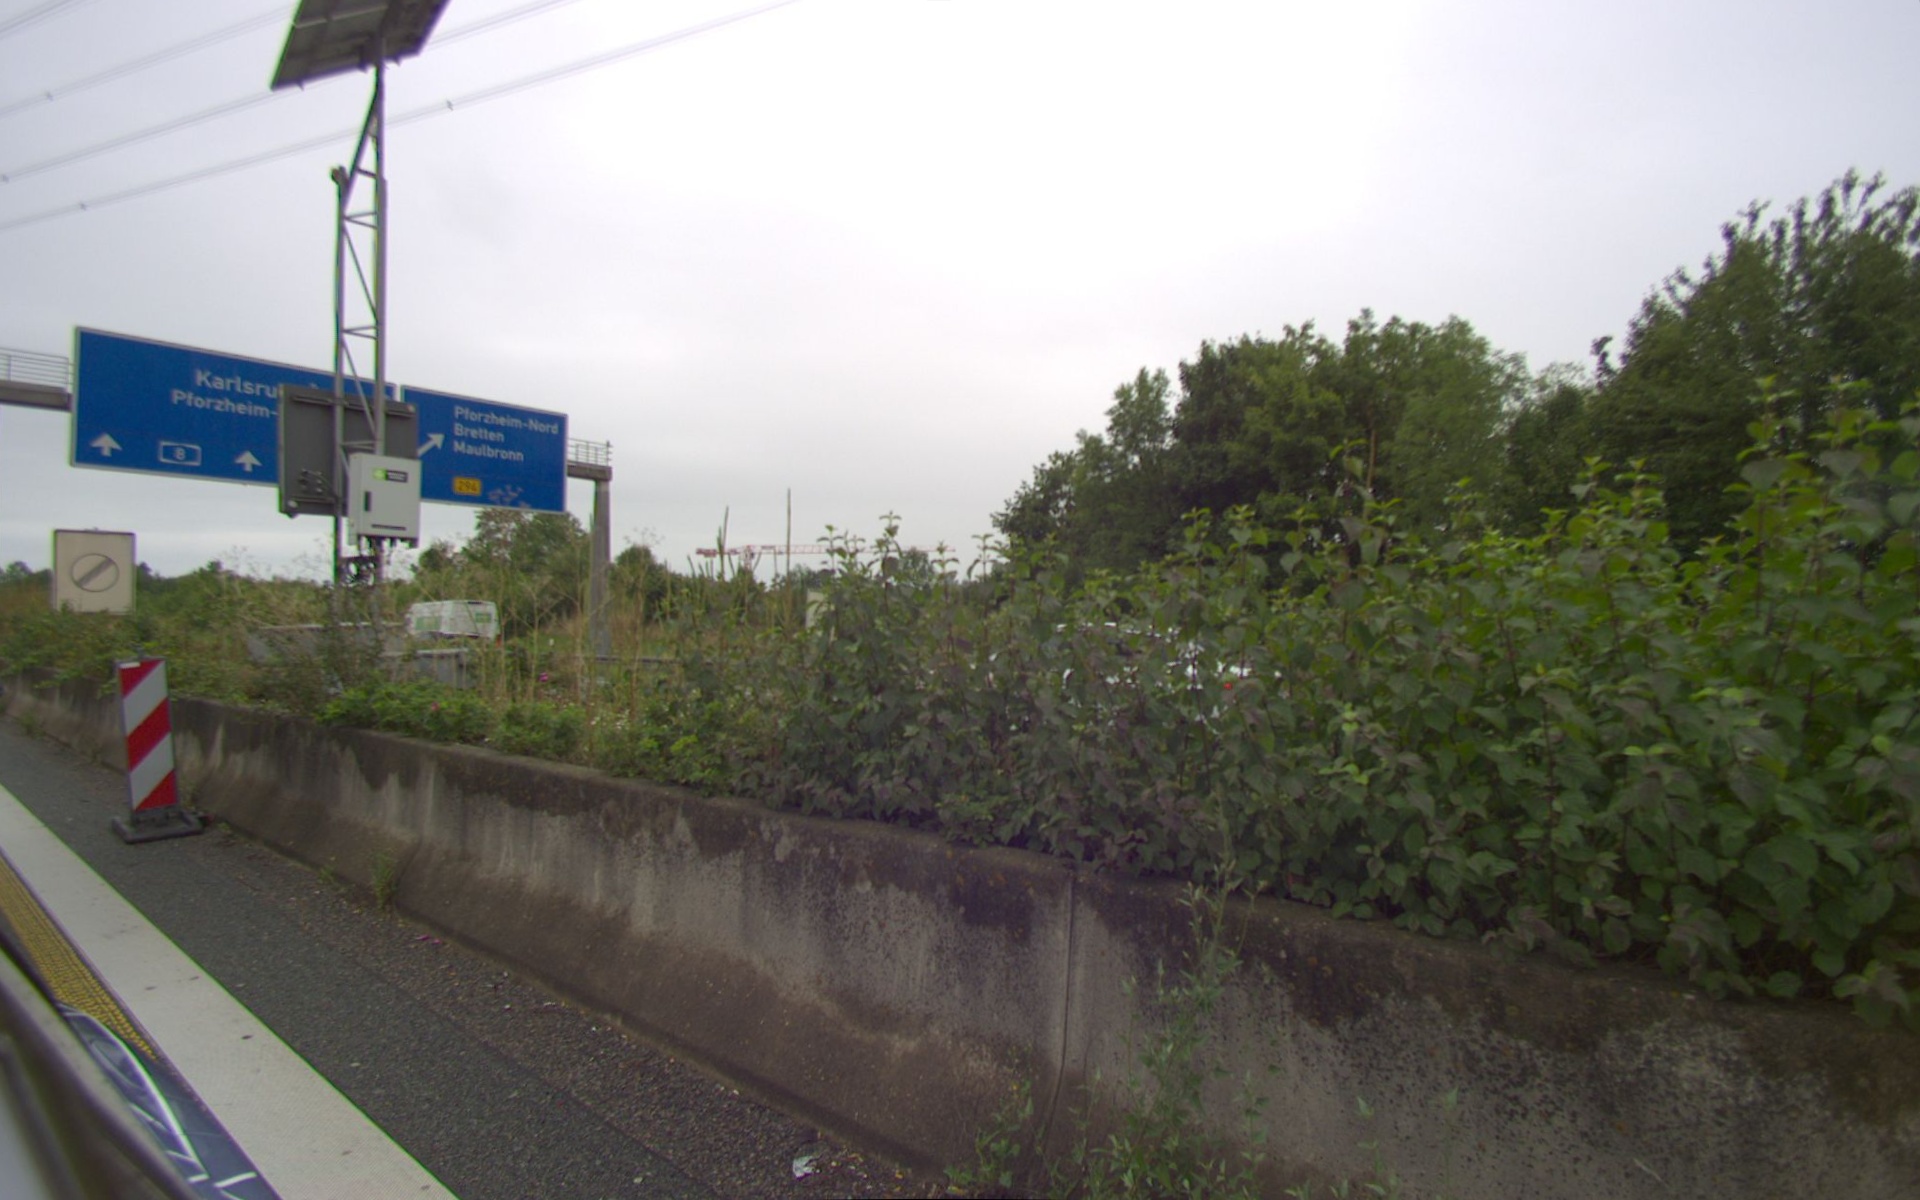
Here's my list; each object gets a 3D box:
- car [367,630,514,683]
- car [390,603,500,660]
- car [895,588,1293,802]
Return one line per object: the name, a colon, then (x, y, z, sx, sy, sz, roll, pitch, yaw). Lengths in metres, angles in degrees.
car: (-14.144, 1.471, 27.434, 4.664, 1.292, 1.973, -1, -1, 41)
car: (-19.401, 1.165, 38.044, 5.057, 2.029, 1.973, -1, -1, 41)
car: (1.380, 0.933, 11.295, 3.998, 1.945, 1.973, -2, -3, 41)
